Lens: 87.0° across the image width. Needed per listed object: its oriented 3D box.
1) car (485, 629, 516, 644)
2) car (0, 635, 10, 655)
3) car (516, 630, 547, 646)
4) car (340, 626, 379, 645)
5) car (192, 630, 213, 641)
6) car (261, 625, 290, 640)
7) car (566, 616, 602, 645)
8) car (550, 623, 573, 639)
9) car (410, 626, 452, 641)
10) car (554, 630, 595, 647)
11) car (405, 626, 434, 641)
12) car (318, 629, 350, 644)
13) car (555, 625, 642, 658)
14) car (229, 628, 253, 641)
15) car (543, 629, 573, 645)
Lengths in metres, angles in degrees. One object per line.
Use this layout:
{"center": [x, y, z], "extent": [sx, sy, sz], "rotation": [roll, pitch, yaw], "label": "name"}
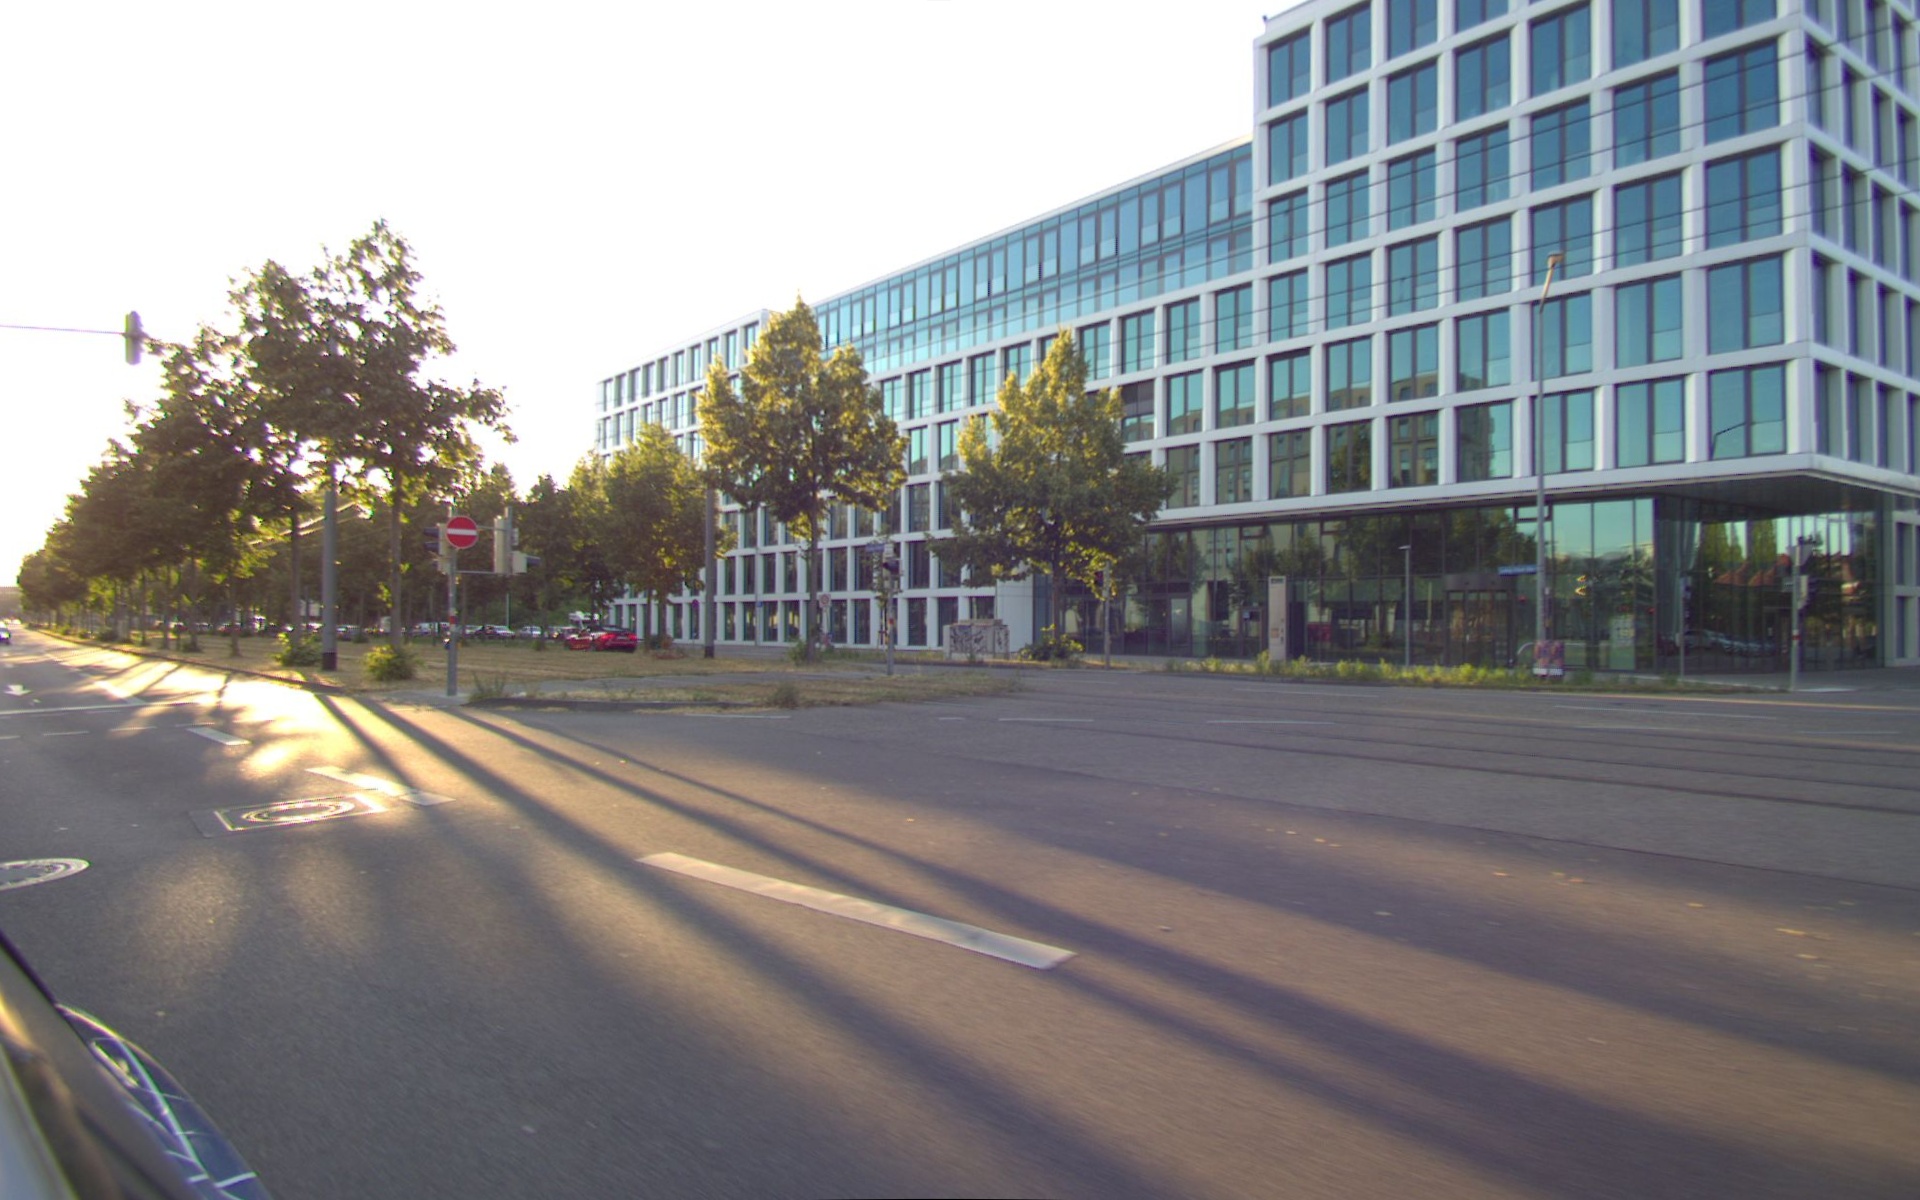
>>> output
{"center": [-48.148, 3.794, 105.948], "extent": [1.968, 1.604, 4.344], "rotation": [1, -2, -38], "label": "car"}
{"center": [-77.263, 3.590, 80.801], "extent": [1.970, 1.494, 4.338], "rotation": [1, -2, -44], "label": "car"}
{"center": [-44.212, 3.905, 104.363], "extent": [1.968, 1.604, 4.008], "rotation": [1, -2, -38], "label": "car"}
{"center": [-45.515, 2.666, 76.666], "extent": [4.002, 1.414, 1.627], "rotation": [-2, -2, 45], "label": "car"}
{"center": [-99.925, 4.685, 133.518], "extent": [4.002, 1.414, 1.627], "rotation": [-2, -2, 45], "label": "car"}
{"center": [-67.957, 3.246, 100.415], "extent": [4.002, 1.414, 1.627], "rotation": [-2, -2, 45], "label": "car"}
{"center": [-40.527, 3.272, 109.079], "extent": [2.130, 3.014, 5.734], "rotation": [1, -2, -36], "label": "car"}
{"center": [-46.707, 3.608, 118.514], "extent": [1.821, 1.826, 4.012], "rotation": [1, -2, -31], "label": "car"}
{"center": [-62.717, 3.912, 120.023], "extent": [2.000, 1.754, 4.027], "rotation": [-2, -2, 43], "label": "car"}
{"center": [-33.237, 3.308, 87.188], "extent": [4.002, 1.414, 1.739], "rotation": [-2, -2, 45], "label": "car"}
{"center": [-65.545, 4.014, 122.691], "extent": [1.970, 1.754, 4.614], "rotation": [1, -2, -44], "label": "car"}
{"center": [-59.578, 3.470, 96.306], "extent": [4.002, 1.414, 1.627], "rotation": [-2, -2, 45], "label": "car"}
{"center": [-16.853, 1.875, 47.041], "extent": [1.970, 1.445, 4.902], "rotation": [1, -2, -45], "label": "car"}
{"center": [-83.725, 3.999, 117.842], "extent": [4.002, 1.414, 1.627], "rotation": [-2, -2, 45], "label": "car"}
{"center": [-42.761, 3.916, 107.652], "extent": [1.968, 1.604, 4.008], "rotation": [1, -2, -38], "label": "car"}
